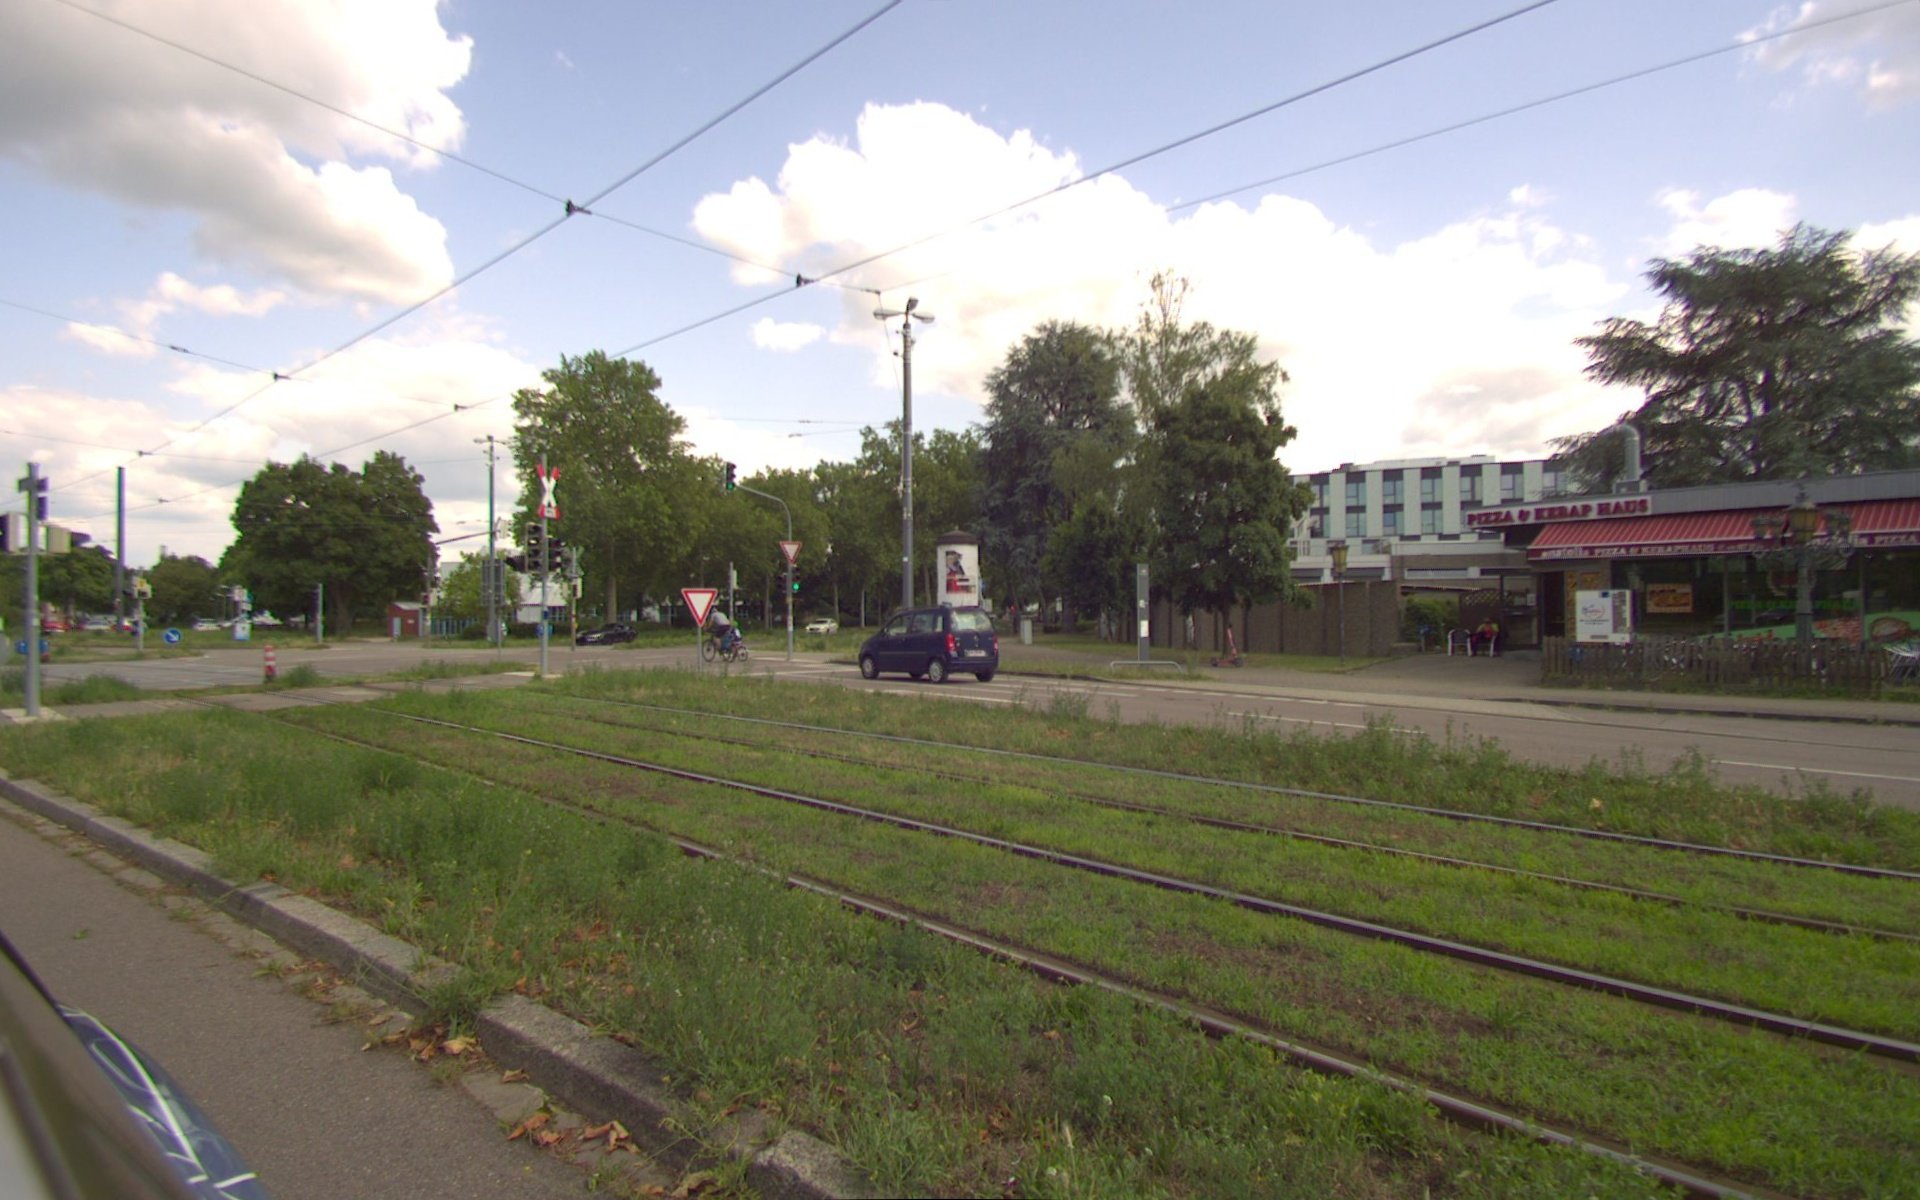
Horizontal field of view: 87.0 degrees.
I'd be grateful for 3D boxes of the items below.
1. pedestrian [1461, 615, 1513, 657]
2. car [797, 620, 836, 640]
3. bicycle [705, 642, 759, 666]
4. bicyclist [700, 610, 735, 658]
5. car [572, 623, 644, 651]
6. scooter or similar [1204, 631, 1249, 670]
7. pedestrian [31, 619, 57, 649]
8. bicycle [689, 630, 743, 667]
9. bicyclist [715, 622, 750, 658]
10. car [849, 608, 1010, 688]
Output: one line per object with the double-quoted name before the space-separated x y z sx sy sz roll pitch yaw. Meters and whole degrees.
"pedestrian" 14.608 0.985 28.053 1.139 1.155 0.933 1 -2 -42
"car" -11.589 2.400 81.905 1.684 1.535 3.890 0 -1 16
"bicycle" -7.269 1.701 32.247 1.800 0.723 0.640 -1 -1 35
"bicyclist" -7.578 1.066 31.639 0.926 1.468 0.618 -1 -1 34
"car" -20.216 2.080 58.254 1.690 1.535 3.823 -1 -1 26
"scooter or similar" 7.334 1.375 27.834 0.420 1.041 1.226 0 -1 -32
"pedestrian" -58.968 2.182 65.168 0.996 1.882 0.900 -1 -1 25
"bicycle" -7.644 1.503 31.678 1.800 1.088 0.640 -1 -1 35
"bicyclist" -7.261 1.257 32.245 0.926 1.121 0.634 -1 -1 34
"car" -0.733 1.003 22.664 1.757 1.638 3.499 1 -1 -43
